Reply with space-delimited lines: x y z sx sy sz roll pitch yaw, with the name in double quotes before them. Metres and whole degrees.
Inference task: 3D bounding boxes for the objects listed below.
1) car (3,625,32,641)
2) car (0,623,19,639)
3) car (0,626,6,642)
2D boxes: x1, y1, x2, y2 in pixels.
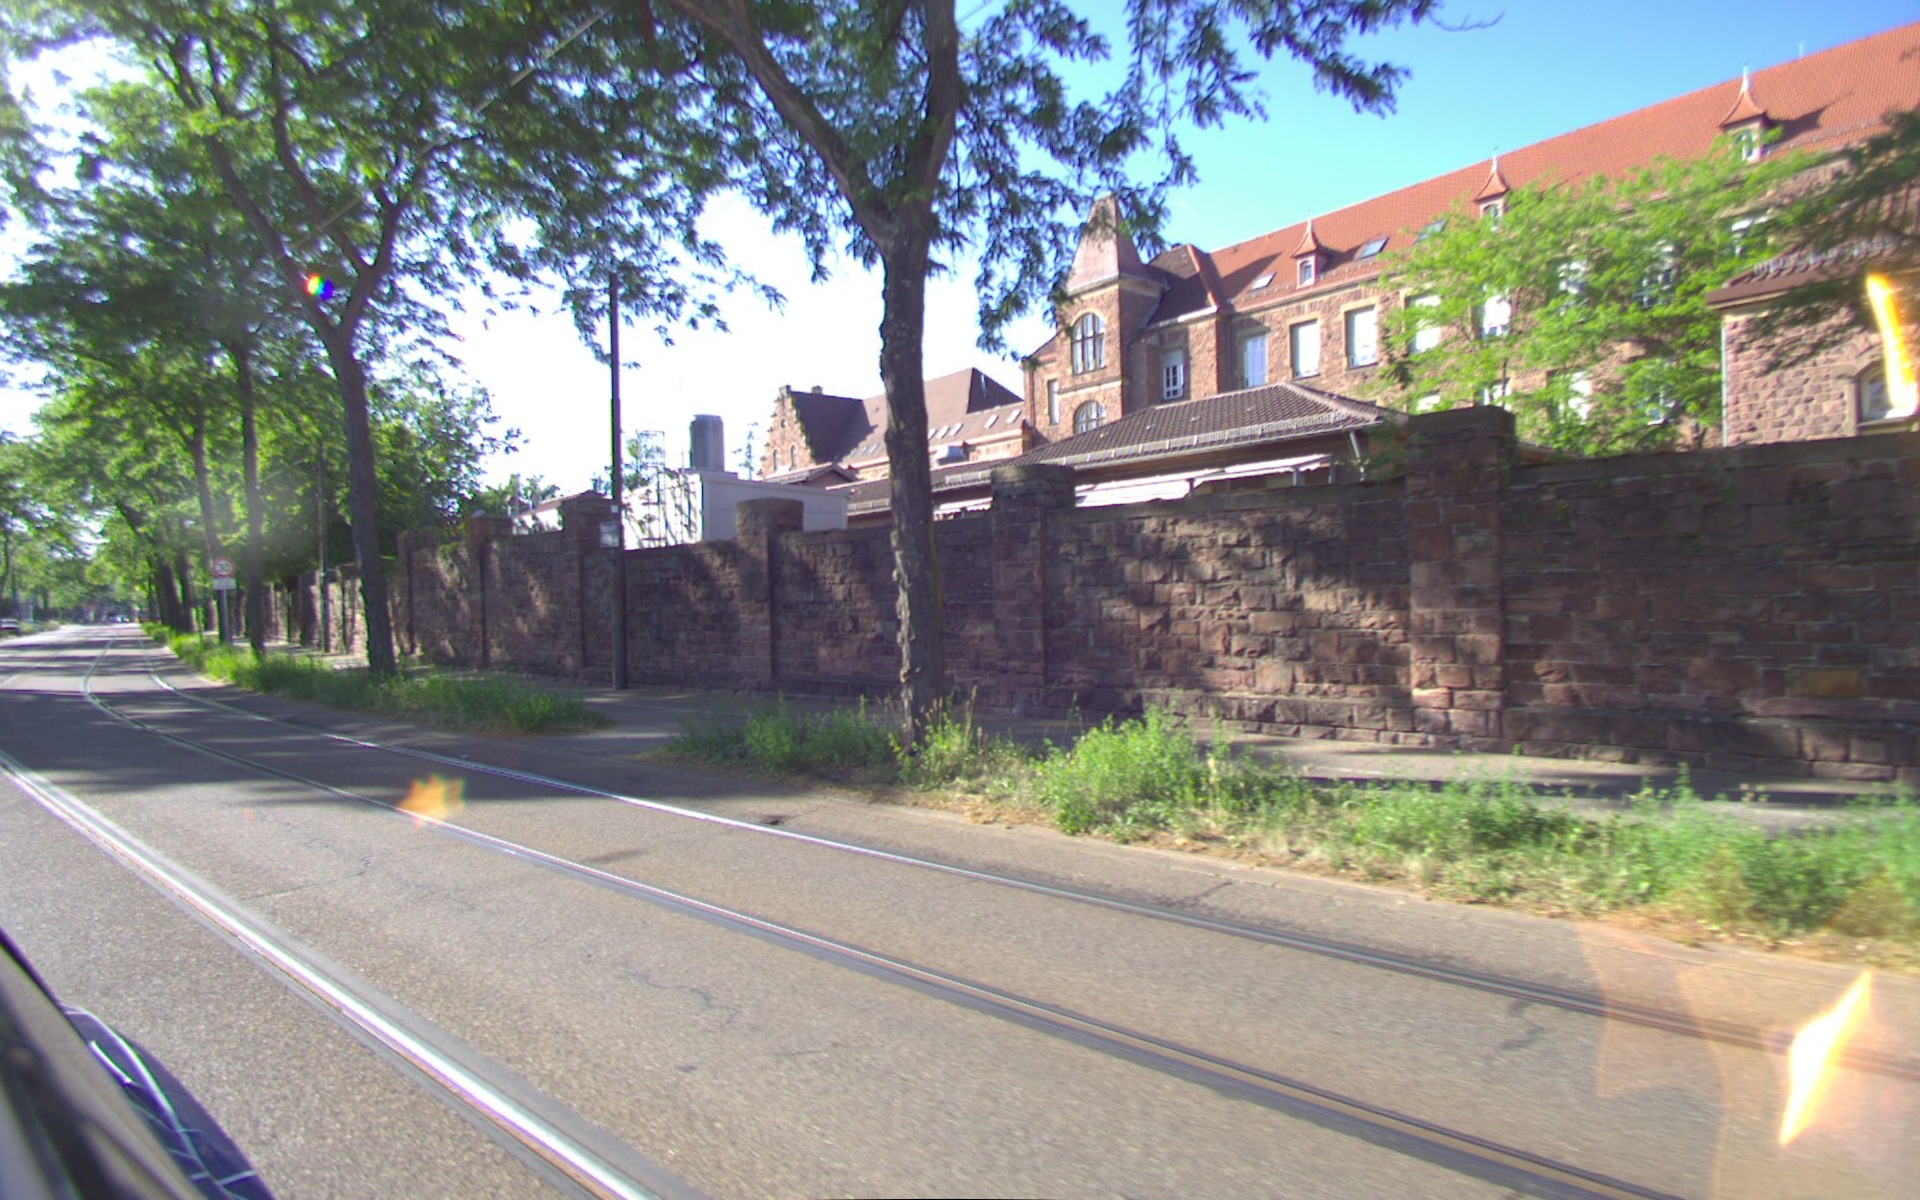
"car" -100.748 3.476 108.194 1.968 1.429 4.008 -1 2 -39
"car" -93.360 3.074 98.749 1.968 1.494 4.007 -1 0 -39
"car" -87.544 3.059 91.323 1.761 1.387 3.662 -2 1 -39
